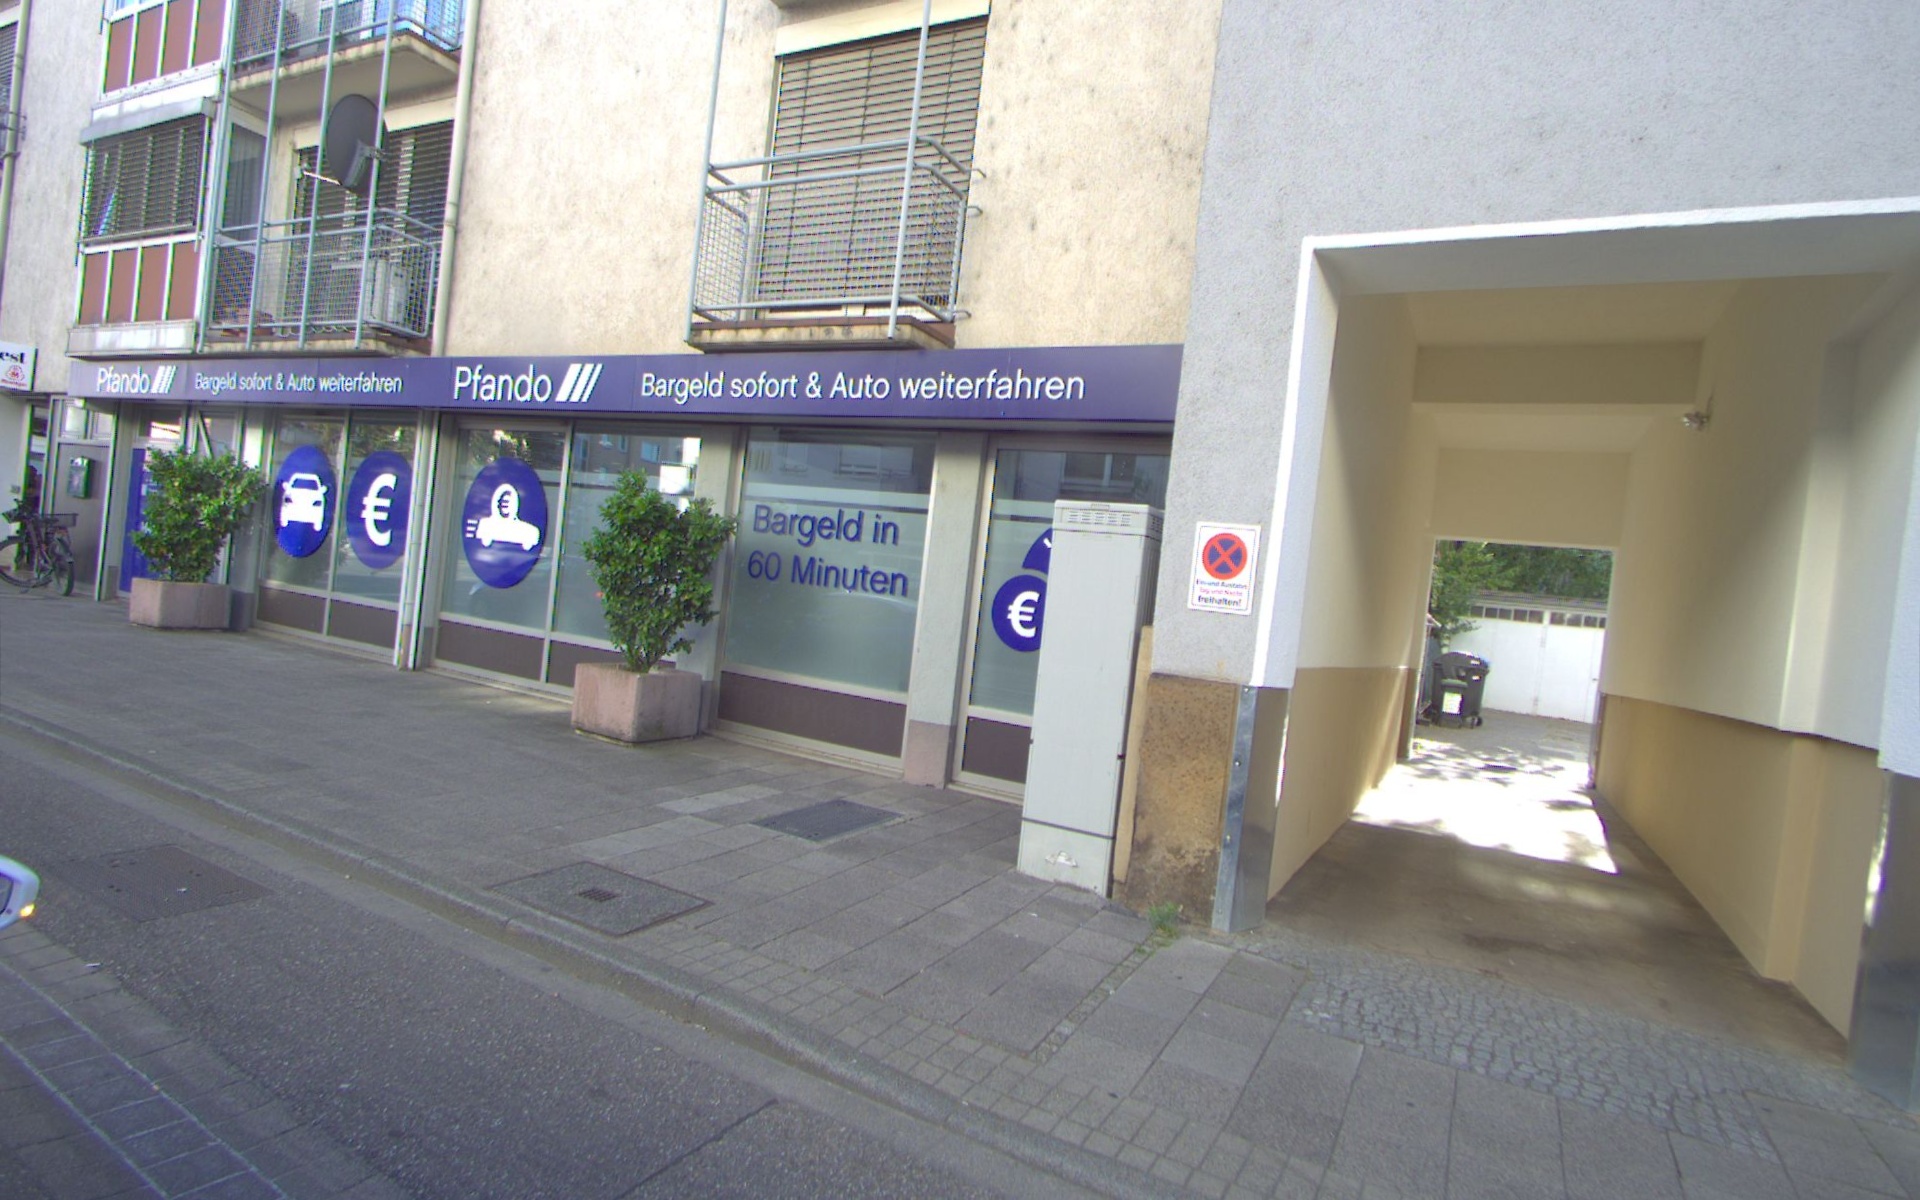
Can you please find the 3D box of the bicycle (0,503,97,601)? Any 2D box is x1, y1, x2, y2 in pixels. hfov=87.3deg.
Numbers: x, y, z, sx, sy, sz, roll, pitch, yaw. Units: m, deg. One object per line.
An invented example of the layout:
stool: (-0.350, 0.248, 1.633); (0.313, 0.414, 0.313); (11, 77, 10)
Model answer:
bicycle: (-11.835, -0.630, 12.877); (1.779, 1.086, 0.531); (7, 1, 28)
